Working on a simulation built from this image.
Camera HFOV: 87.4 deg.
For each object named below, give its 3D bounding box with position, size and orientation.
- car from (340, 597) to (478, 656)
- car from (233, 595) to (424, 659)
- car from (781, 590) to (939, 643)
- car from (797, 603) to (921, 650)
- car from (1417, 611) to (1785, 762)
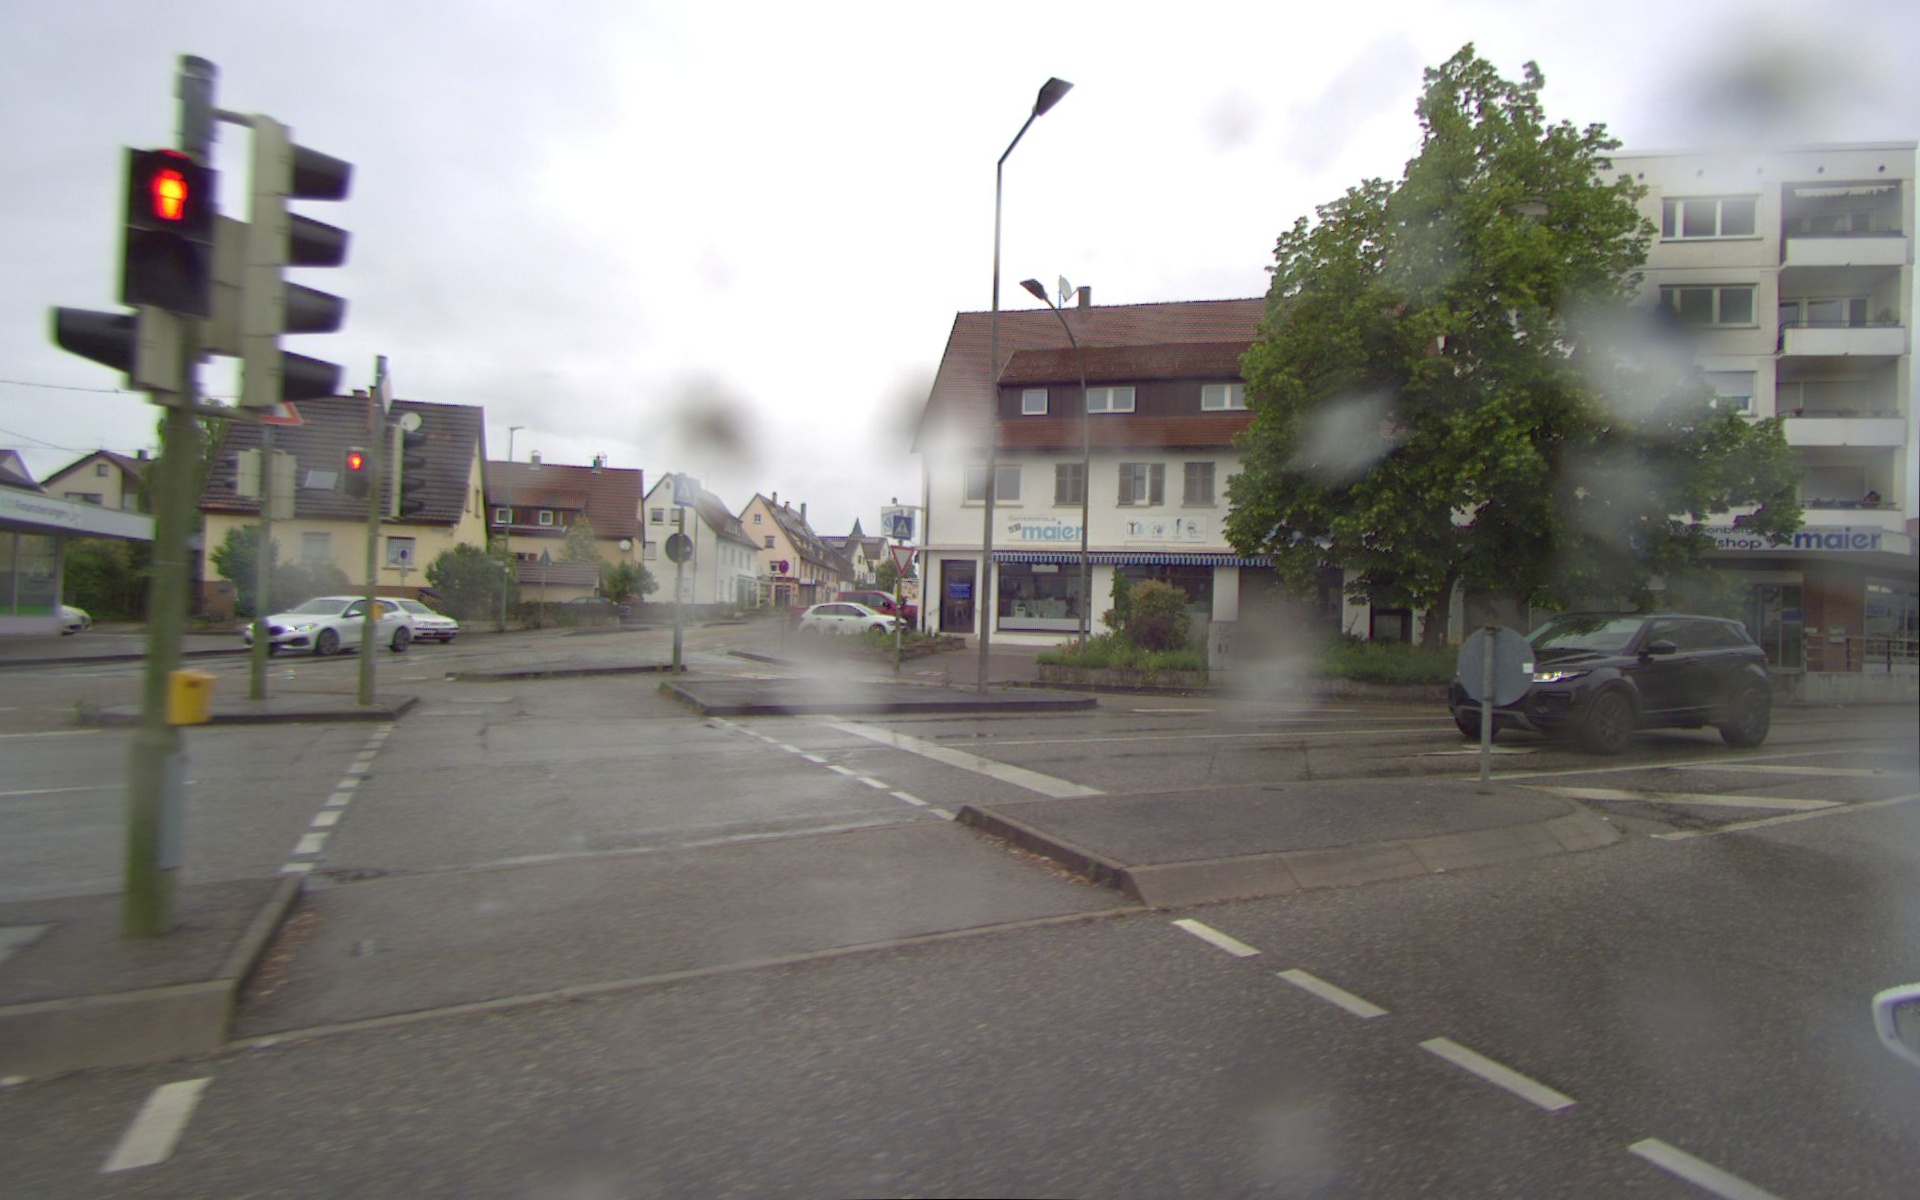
[{"bbox_3d":[-18.165,0.844,33.149,3.840,1.756,1.835,1,0,18],"label":"car"},{"bbox_3d":[-15.860,0.637,25.543,1.797,1.454,4.290,1,0,6],"label":"car"},{"bbox_3d":[-3.855,0.622,38.911,5.734,1.867,2.001,1,0,13],"label":"car"},{"bbox_3d":[-3.581,0.921,35.903,3.921,1.546,2.000,1,0,19],"label":"car"},{"bbox_3d":[7.899,0.974,12.360,4.259,1.578,1.798,1,0,-25],"label":"car"}]
